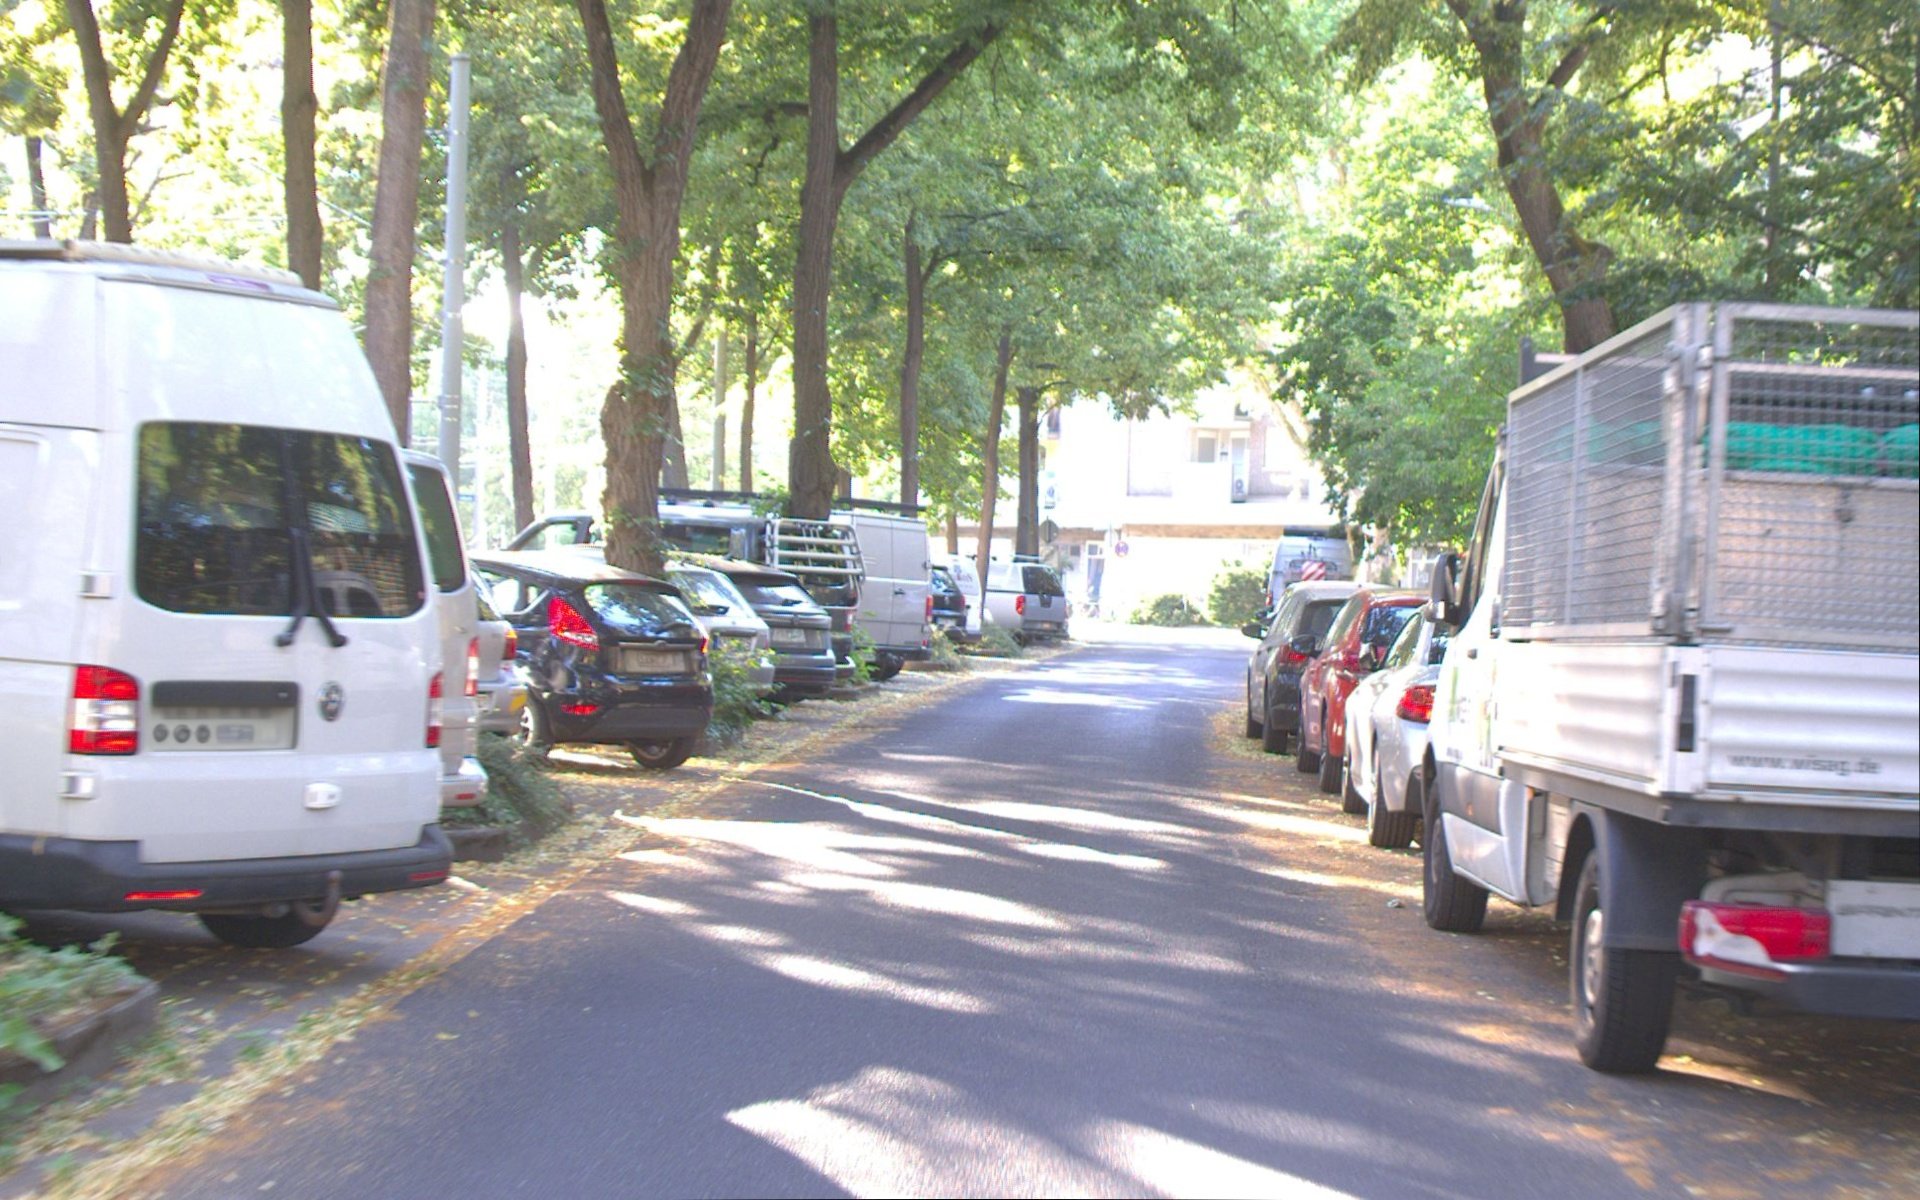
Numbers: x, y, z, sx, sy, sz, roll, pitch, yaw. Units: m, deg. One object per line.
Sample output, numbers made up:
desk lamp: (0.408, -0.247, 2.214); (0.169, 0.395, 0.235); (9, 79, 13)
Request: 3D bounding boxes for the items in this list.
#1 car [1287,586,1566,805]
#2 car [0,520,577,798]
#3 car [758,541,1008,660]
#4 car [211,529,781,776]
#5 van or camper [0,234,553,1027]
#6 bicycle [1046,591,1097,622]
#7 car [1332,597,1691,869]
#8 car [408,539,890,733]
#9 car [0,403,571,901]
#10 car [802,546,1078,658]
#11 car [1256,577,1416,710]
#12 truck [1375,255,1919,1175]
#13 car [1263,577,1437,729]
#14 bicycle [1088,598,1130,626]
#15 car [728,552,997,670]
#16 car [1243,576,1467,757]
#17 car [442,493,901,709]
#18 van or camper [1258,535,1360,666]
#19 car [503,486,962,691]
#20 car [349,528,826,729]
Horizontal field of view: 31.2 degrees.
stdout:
car: (3.393, 0.654, 25.627); (1.672, 1.449, 3.949); (2, 0, 3)
car: (-4.520, 0.367, 22.547); (3.546, 1.488, 1.822); (5, 0, 33)
car: (-1.396, -0.005, 61.408); (4.157, 1.775, 1.879); (5, 0, 41)
car: (-3.381, 0.363, 24.765); (3.821, 1.434, 1.821); (5, 0, 38)
van or camper: (-4.172, -0.024, 12.802); (4.879, 2.462, 2.041); (4, 0, 31)
bicycle: (3.777, 0.218, 116.824); (0.638, 1.019, 2.088); (1, 0, -32)
car: (3.183, 0.709, 20.544); (1.672, 1.393, 4.298); (2, 0, 4)
car: (-3.141, 0.340, 34.229); (4.567, 1.535, 1.930); (5, 0, 37)
car: (-4.435, 0.117, 16.094); (4.880, 1.971, 2.041); (4, 0, 33)
car: (-0.408, 0.031, 67.226); (4.996, 1.775, 1.984); (5, 0, 32)
car: (4.450, 0.491, 41.114); (1.680, 1.449, 4.075); (2, 0, 4)
truck: (3.001, 0.315, 12.418); (2.296, 2.378, 6.934); (2, 0, 2)
car: (4.024, 0.522, 35.897); (1.591, 1.449, 3.554); (2, 0, 4)
bicycle: (4.990, 0.401, 114.907); (0.542, 0.901, 1.736); (1, 0, -30)
car: (-1.673, 0.179, 58.197); (4.156, 1.638, 1.911); (5, 0, 36)
car: (3.458, 0.552, 30.635); (1.672, 1.449, 3.949); (2, 0, 3)
car: (-3.145, -0.012, 36.998); (4.709, 1.936, 1.930); (5, 0, 37)
van or camper: (7.796, 0.010, 77.144); (2.084, 2.753, 5.844); (2, 0, 5)
car: (-2.912, -0.169, 43.323); (5.508, 2.130, 2.077); (5, 0, 34)
car: (-3.445, 0.249, 31.505); (4.089, 1.483, 1.780); (5, 0, 35)
